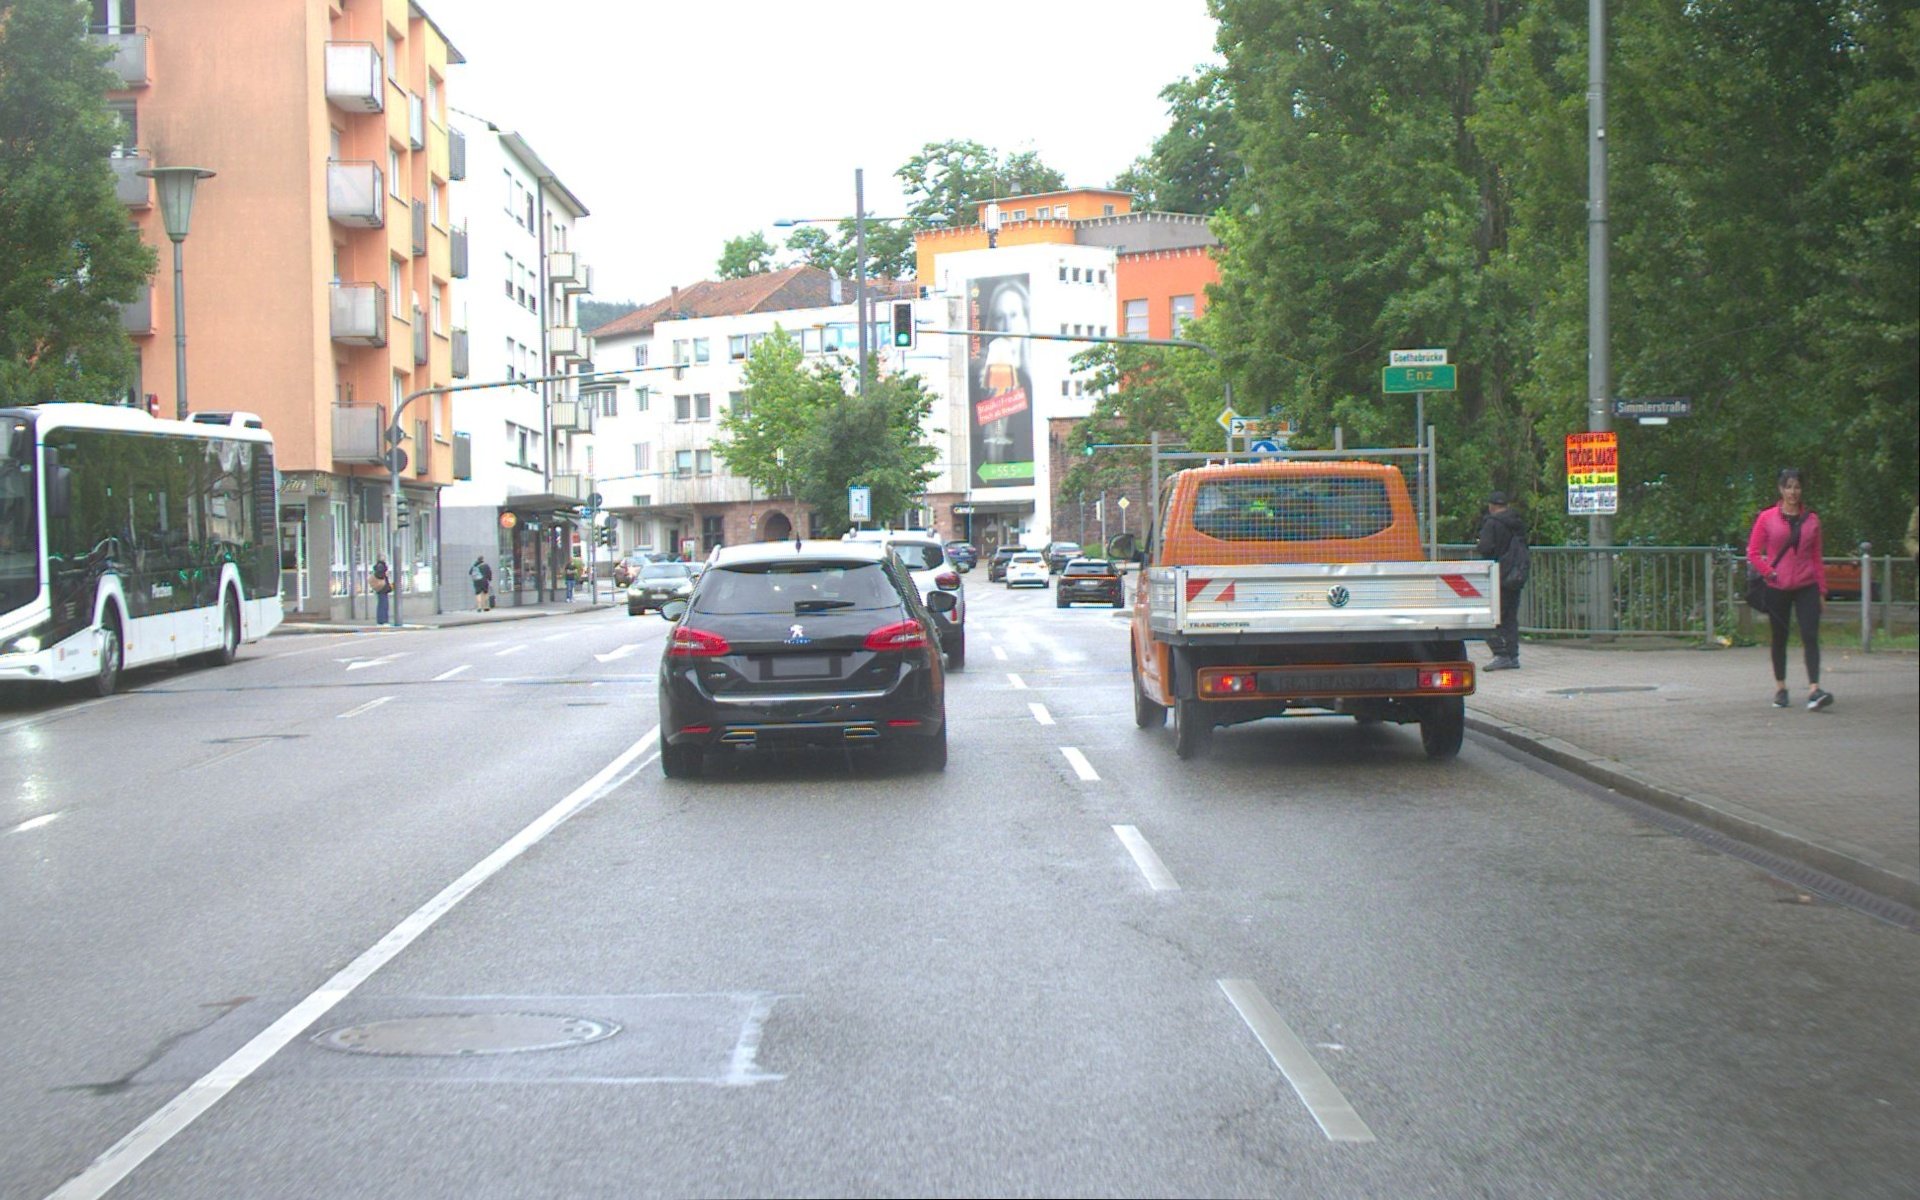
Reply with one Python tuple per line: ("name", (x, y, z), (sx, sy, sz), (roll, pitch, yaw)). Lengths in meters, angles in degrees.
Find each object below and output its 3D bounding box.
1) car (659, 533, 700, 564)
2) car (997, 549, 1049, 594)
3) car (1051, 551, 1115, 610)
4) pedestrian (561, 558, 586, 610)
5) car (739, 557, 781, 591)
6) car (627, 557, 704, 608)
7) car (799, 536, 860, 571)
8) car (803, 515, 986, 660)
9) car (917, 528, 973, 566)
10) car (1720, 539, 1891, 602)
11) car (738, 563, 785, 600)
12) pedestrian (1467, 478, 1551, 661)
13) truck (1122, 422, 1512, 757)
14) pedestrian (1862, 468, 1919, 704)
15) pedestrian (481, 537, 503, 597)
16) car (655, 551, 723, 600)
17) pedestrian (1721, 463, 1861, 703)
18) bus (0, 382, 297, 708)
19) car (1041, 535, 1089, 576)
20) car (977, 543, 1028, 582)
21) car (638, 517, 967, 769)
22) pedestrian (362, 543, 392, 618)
("car", (-13.160, -2.411, 161.361), (1.665, 1.395, 3.877), (-2, 1, -1))
("car", (2.562, -1.173, 140.516), (1.993, 1.815, 4.000), (0, 1, -1))
("car", (3.549, -0.543, 99.458), (1.644, 1.559, 3.600), (2, -1, -1))
("pedestrian", (-15.284, -0.633, 135.951), (0.726, 2.007, 0.657), (3, -2, -34))
("car", (-8.789, -1.155, 151.204), (1.664, 1.395, 3.877), (-2, 1, -5))
("car", (-8.069, -0.500, 94.529), (1.791, 1.320, 4.407), (-1, 1, -1))
("car", (-6.334, -2.253, 166.857), (1.644, 1.559, 3.600), (2, -2, -25))
("car", (-0.667, -0.153, 37.948), (1.795, 1.478, 4.000), (-1, 1, 2))
("car", (-0.703, -2.449, 159.032), (1.993, 1.678, 4.001), (-1, 1, -9))
("car", (22.988, -0.798, 93.546), (4.120, 1.615, 1.806), (-1, 1, -4))
("car", (-7.813, -0.742, 135.379), (1.665, 1.395, 3.877), (-2, 1, -1))
("pedestrian", (5.114, -0.292, 32.042), (0.639, 1.658, 0.563), (-2, 2, -1))
("truck", (2.279, -0.099, 23.239), (2.122, 2.018, 4.716), (1, 1, 0))
("pedestrian", (6.638, -0.111, 23.476), (0.726, 1.584, 0.606), (-2, 1, -1))
("pedestrian", (-14.708, -1.040, 107.962), (0.639, 1.854, 0.524), (0, 1, -2))
("car", (-8.673, -0.805, 110.301), (1.836, 1.504, 4.821), (-1, 1, -1))
("pedestrian", (5.781, -0.123, 23.948), (0.717, 1.614, 0.769), (-2, 1, -1))
("bus", (-9.975, -0.741, 38.464), (2.744, 3.065, 12.238), (-1, 2, 0))
("car", (4.815, -2.062, 158.083), (1.993, 1.815, 4.000), (-1, 1, -1))
("car", (1.846, -1.645, 150.716), (1.644, 1.559, 3.600), (2, -1, -8))
("car", (-0.934, 0.248, 22.400), (1.795, 1.478, 4.000), (1, 0, 2))
("pedestrian", (-13.546, -0.453, 79.872), (0.530, 1.721, 0.648), (-1, 1, 3))
